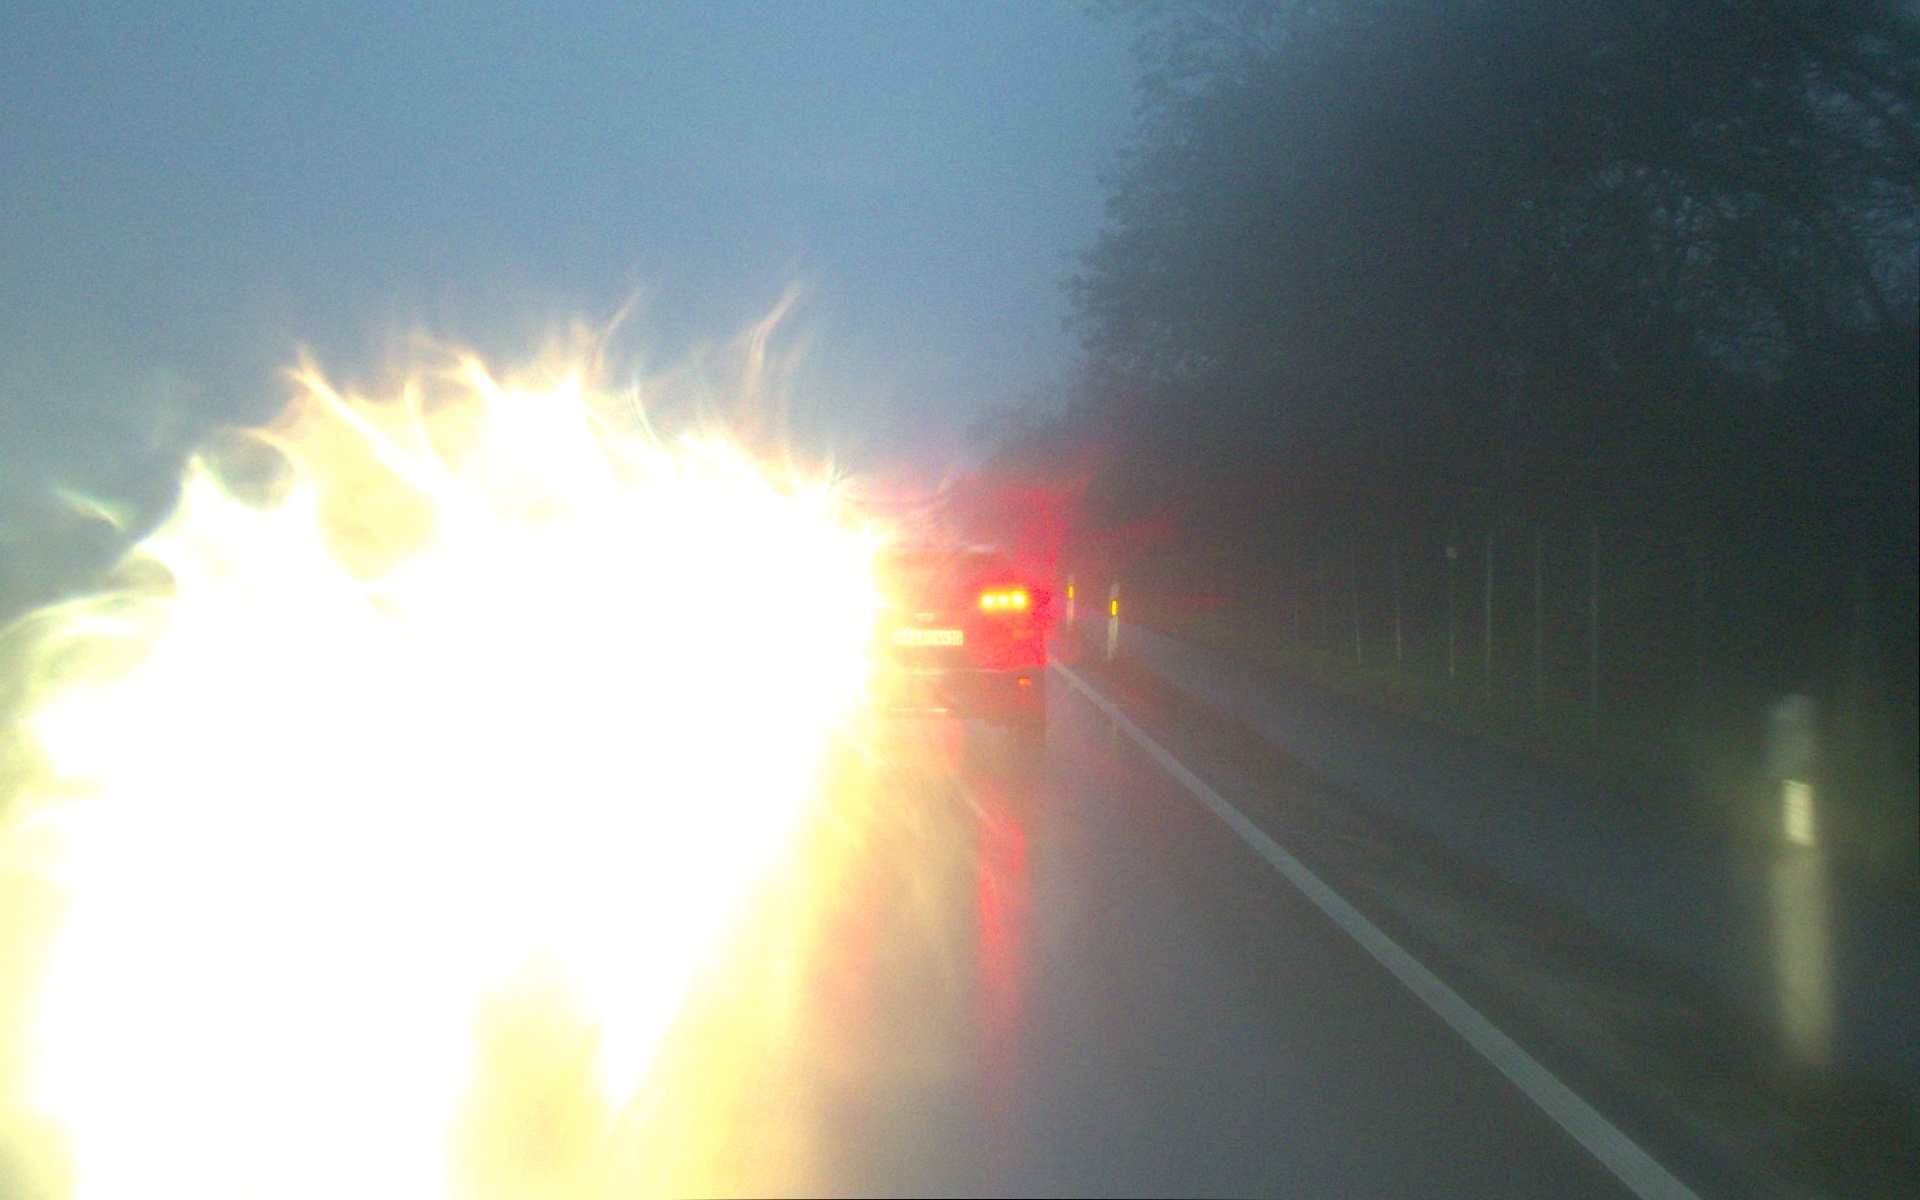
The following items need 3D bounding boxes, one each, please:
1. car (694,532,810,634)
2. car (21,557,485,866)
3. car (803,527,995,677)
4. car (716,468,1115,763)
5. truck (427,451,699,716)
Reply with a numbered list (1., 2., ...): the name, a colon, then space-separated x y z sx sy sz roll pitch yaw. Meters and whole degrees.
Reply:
1. car: -3.975 -0.351 66.310 1.993 1.816 4.000 -3 1 -1
2. car: -3.749 0.523 18.901 1.728 1.408 4.023 -3 1 -1
3. car: -0.819 -0.004 49.846 2.592 2.007 5.804 1 1 0
4. car: -0.309 0.076 27.508 2.820 2.070 5.804 1 1 0
5. truck: -4.371 -0.230 39.075 2.269 2.625 7.035 -3 1 -1
